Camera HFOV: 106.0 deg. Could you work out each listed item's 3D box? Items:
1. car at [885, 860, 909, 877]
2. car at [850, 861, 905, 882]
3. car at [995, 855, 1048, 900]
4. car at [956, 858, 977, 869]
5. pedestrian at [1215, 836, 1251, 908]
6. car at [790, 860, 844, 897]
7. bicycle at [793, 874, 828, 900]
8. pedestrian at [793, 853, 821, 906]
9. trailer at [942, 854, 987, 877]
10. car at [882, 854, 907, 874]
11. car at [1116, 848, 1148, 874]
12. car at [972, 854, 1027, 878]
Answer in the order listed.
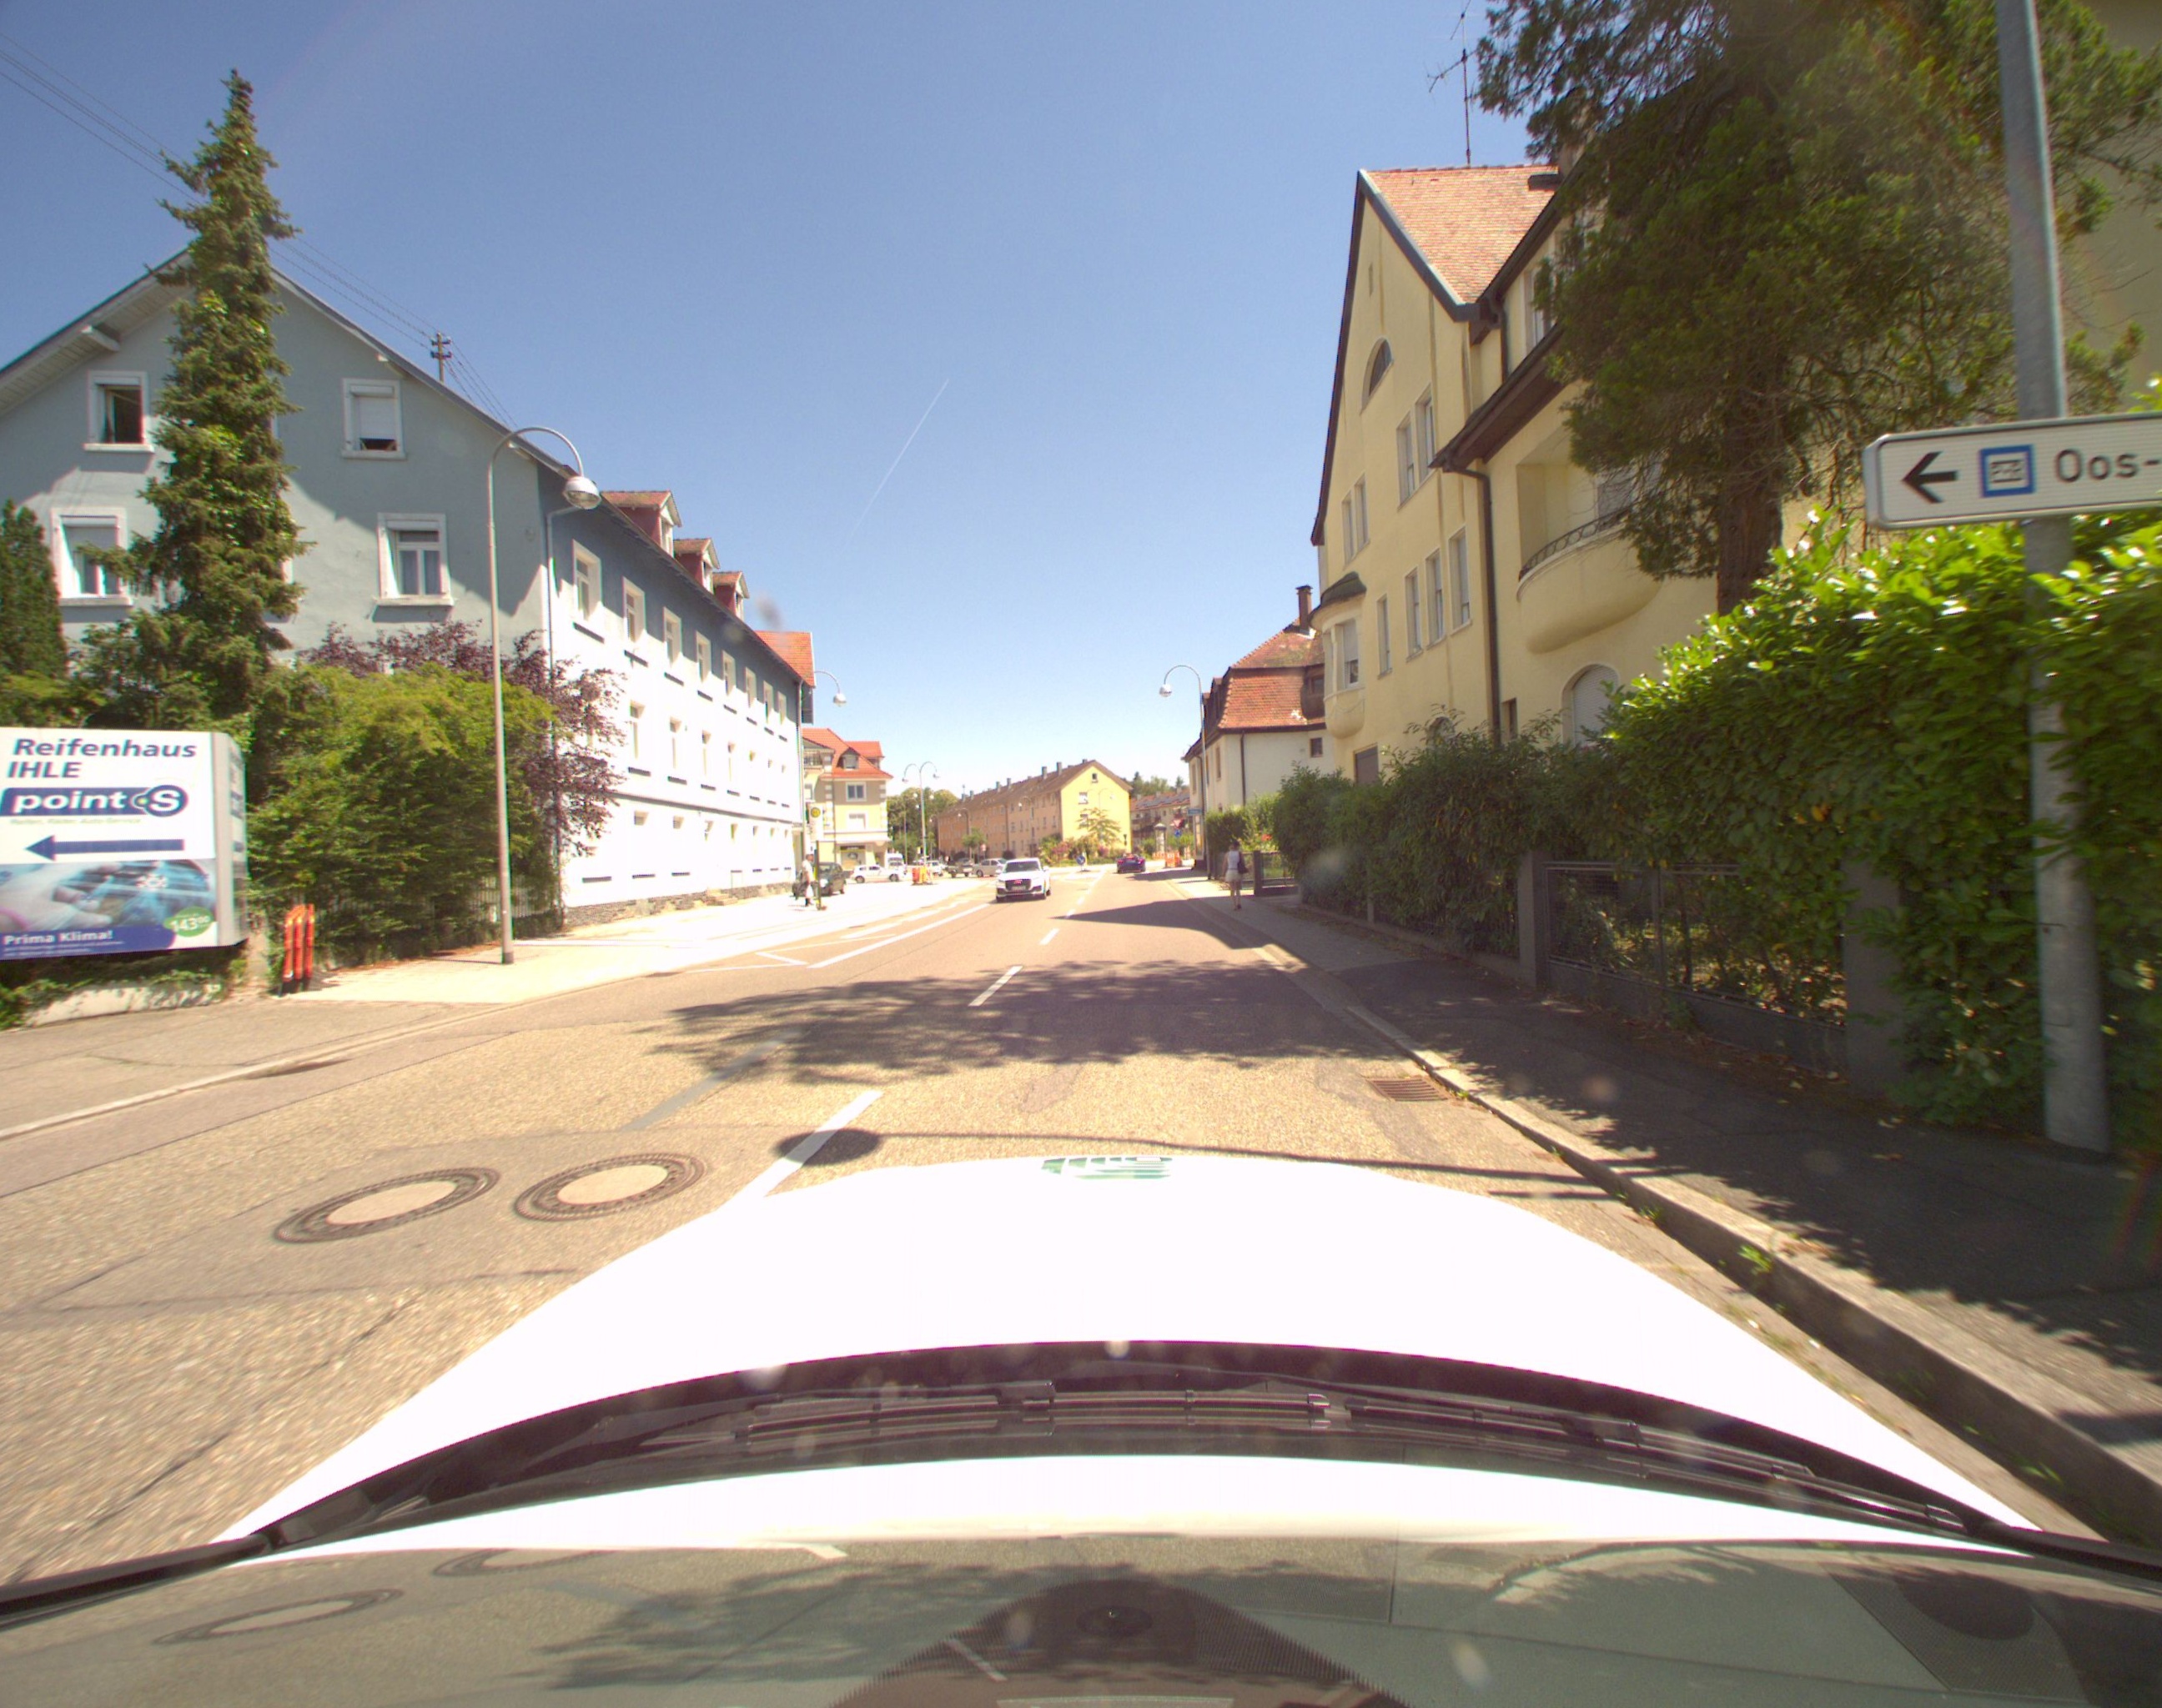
[{"bbox_3d":[-19.471,1.525,85.964,1.782,1.685,4.661,-2,0,-21],"label":"car"},{"bbox_3d":[-16.183,1.409,64.964,4.115,1.551,1.781,-1,-1,-10],"label":"car"},{"bbox_3d":[-2.168,0.888,30.642,1.816,1.530,3.945,-2,-2,-3],"label":"car"},{"bbox_3d":[-16.333,1.428,116.292,1.822,1.500,3.965,-1,-1,-26],"label":"car"},{"bbox_3d":[3.600,0.427,19.370,0.621,1.644,0.771,-3,-1,-1],"label":"pedestrian"},{"bbox_3d":[-11.808,1.109,36.642,1.576,1.534,3.765,-2,-2,-7],"label":"car"},{"bbox_3d":[-10.897,1.318,32.817,0.493,0.977,1.977,2,-1,7],"label":"bicycle"},{"bbox_3d":[-9.687,0.894,28.819,0.754,1.848,0.770,1,-1,-5],"label":"pedestrian"},{"bbox_3d":[-9.379,0.940,65.513,3.156,1.717,1.768,-2,-1,36],"label":"trailer"},{"bbox_3d":[-24.729,1.359,107.705,2.154,2.533,6.189,-1,-1,-23],"label":"car"},{"bbox_3d":[3.368,0.499,54.782,1.864,1.530,4.506,-2,-2,0],"label":"car"},{"bbox_3d":[-6.355,0.936,63.500,4.075,1.747,1.799,-2,-1,35],"label":"car"}]
